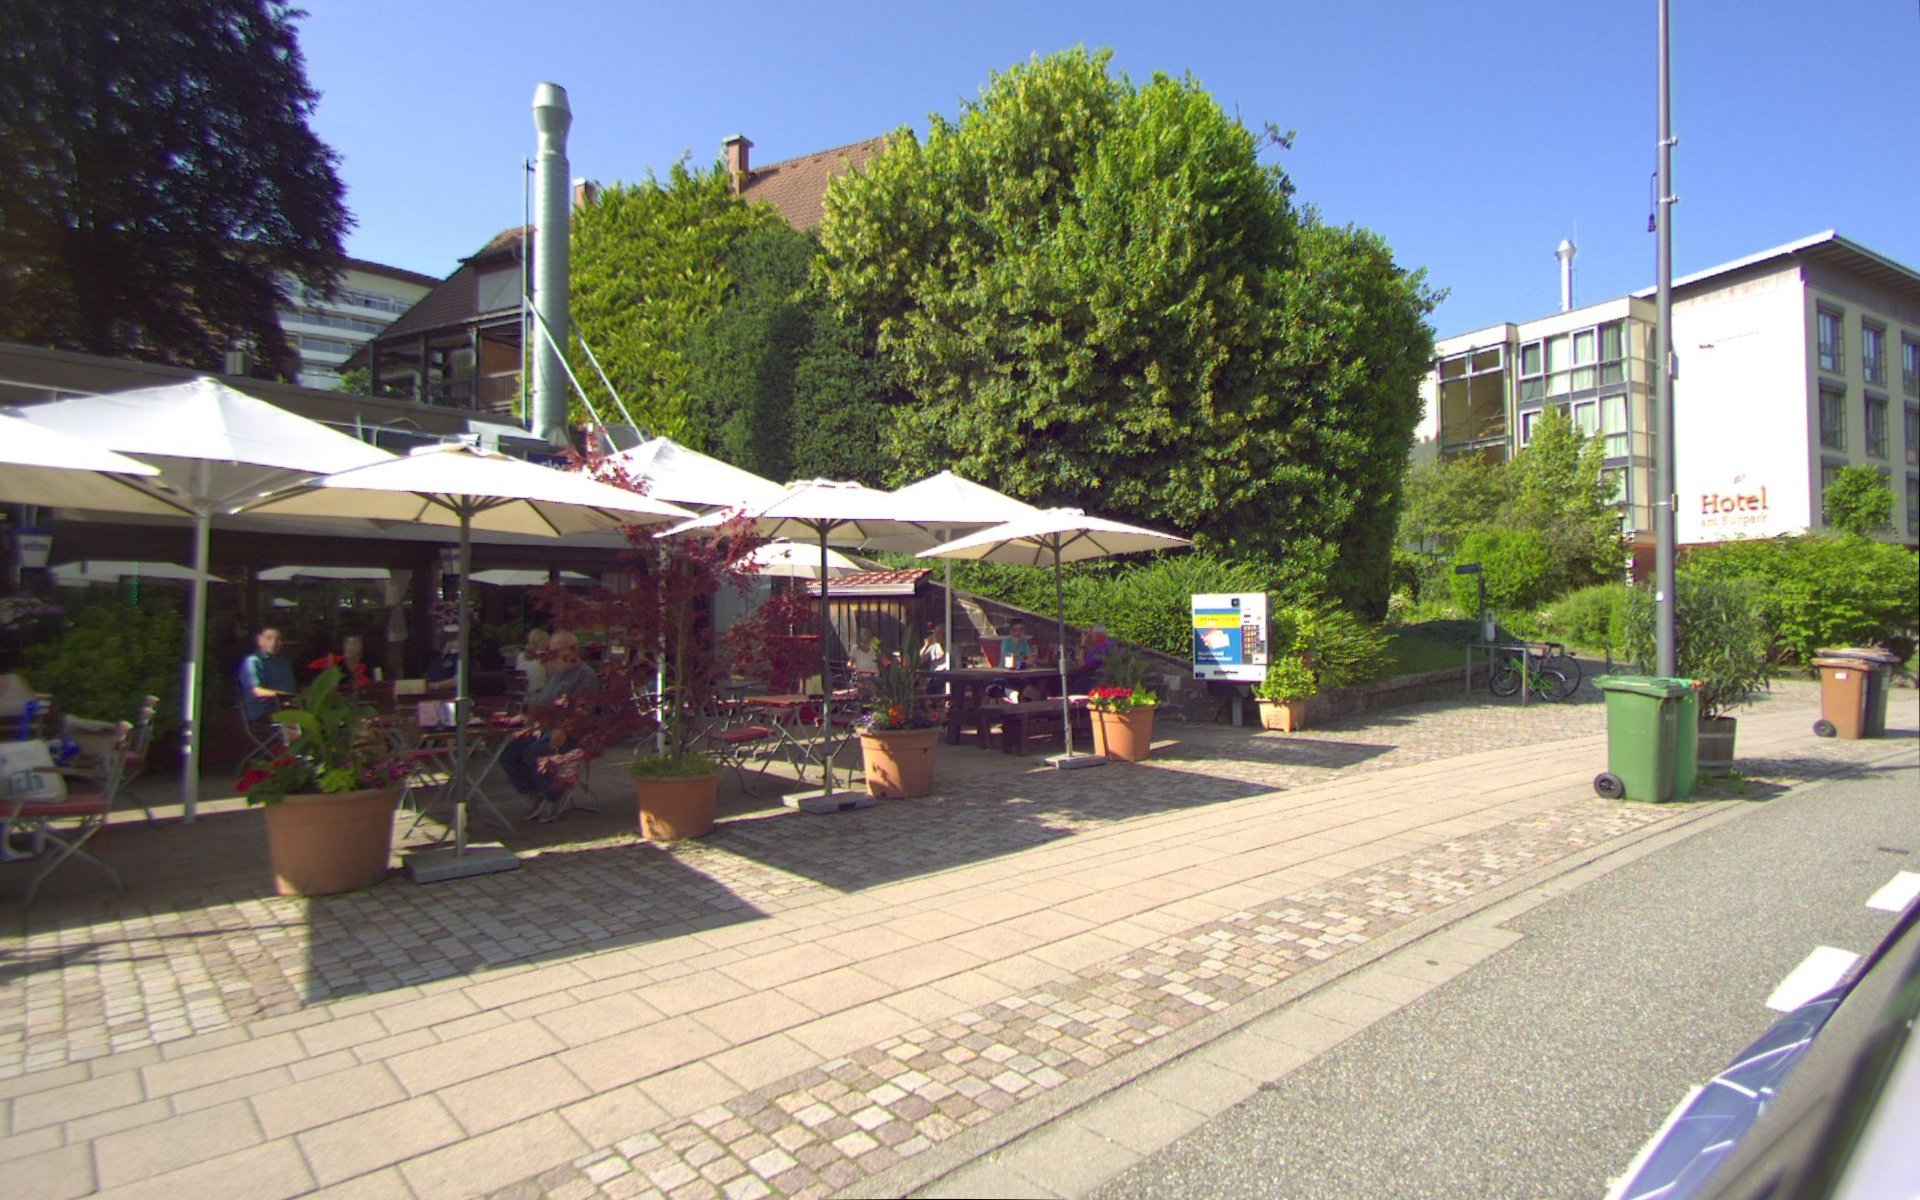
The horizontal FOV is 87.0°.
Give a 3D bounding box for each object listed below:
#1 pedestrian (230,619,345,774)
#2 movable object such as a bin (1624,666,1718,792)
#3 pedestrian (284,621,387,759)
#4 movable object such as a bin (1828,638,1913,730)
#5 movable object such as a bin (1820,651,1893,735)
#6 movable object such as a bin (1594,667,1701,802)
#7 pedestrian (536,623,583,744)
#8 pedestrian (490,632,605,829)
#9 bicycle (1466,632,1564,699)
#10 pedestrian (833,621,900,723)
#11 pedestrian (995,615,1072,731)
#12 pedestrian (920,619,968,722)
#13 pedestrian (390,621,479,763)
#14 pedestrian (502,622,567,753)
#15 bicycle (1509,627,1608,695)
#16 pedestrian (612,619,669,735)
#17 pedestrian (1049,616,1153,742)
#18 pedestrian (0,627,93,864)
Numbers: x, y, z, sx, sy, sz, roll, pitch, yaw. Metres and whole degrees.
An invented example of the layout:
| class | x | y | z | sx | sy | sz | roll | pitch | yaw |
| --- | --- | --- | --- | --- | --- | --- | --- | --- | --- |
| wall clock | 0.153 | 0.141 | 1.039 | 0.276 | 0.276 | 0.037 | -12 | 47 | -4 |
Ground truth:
| class | x | y | z | sx | sy | sz | roll | pitch | yaw |
| --- | --- | --- | --- | --- | --- | --- | --- | --- | --- |
| pedestrian | -6.062 | 0.849 | 9.140 | 0.627 | 1.321 | 0.579 | 1 | 0 | 6 |
| movable object such as a bin | 5.673 | 1.009 | 8.079 | 0.433 | 0.924 | 0.515 | 1 | -1 | -38 |
| pedestrian | -6.149 | 0.867 | 9.983 | 0.627 | 1.298 | 0.579 | 1 | 0 | 6 |
| movable object such as a bin | 11.021 | 1.000 | 12.257 | 0.560 | 1.045 | 0.658 | 1 | 0 | -35 |
| movable object such as a bin | 10.564 | 1.079 | 11.924 | 0.552 | 0.923 | 0.527 | 1 | 0 | -35 |
| movable object such as a bin | 5.281 | 1.006 | 7.773 | 0.510 | 0.937 | 0.549 | 1 | -1 | -38 |
| pedestrian | -4.296 | 0.879 | 10.861 | 0.383 | 1.247 | 0.471 | 1 | 0 | -13 |
| pedestrian | -2.866 | 0.875 | 7.050 | 0.468 | 1.261 | 0.588 | 0 | 1 | 26 |
| bicycle | 8.807 | 1.013 | 16.113 | 0.376 | 0.920 | 1.551 | 2 | 1 | -15 |
| pedestrian | -1.194 | 0.902 | 12.895 | 0.685 | 1.247 | 0.509 | 1 | 0 | -29 |
| pedestrian | 0.866 | 0.834 | 11.917 | 0.647 | 1.300 | 0.636 | 1 | 0 | 40 |
| pedestrian | -0.194 | 0.872 | 12.751 | 0.584 | 1.253 | 0.508 | 1 | 0 | 1 |
| pedestrian | -5.177 | 0.874 | 9.975 | 0.528 | 1.321 | 0.600 | 1 | 0 | 39 |
| pedestrian | -4.334 | 0.871 | 10.309 | 0.467 | 1.281 | 0.434 | 1 | 0 | 38 |
| bicycle | 9.748 | 0.974 | 16.550 | 0.376 | 0.995 | 1.551 | 1 | 1 | -15 |
| pedestrian | -3.681 | 0.870 | 11.661 | 0.499 | 1.284 | 0.409 | 1 | 0 | -38 |
| pedestrian | 1.567 | 0.846 | 11.285 | 0.947 | 1.300 | 0.636 | 1 | 0 | 40 |
| pedestrian | -5.567 | 0.809 | 5.848 | 0.686 | 1.277 | 0.813 | 0 | 0 | -29 |
